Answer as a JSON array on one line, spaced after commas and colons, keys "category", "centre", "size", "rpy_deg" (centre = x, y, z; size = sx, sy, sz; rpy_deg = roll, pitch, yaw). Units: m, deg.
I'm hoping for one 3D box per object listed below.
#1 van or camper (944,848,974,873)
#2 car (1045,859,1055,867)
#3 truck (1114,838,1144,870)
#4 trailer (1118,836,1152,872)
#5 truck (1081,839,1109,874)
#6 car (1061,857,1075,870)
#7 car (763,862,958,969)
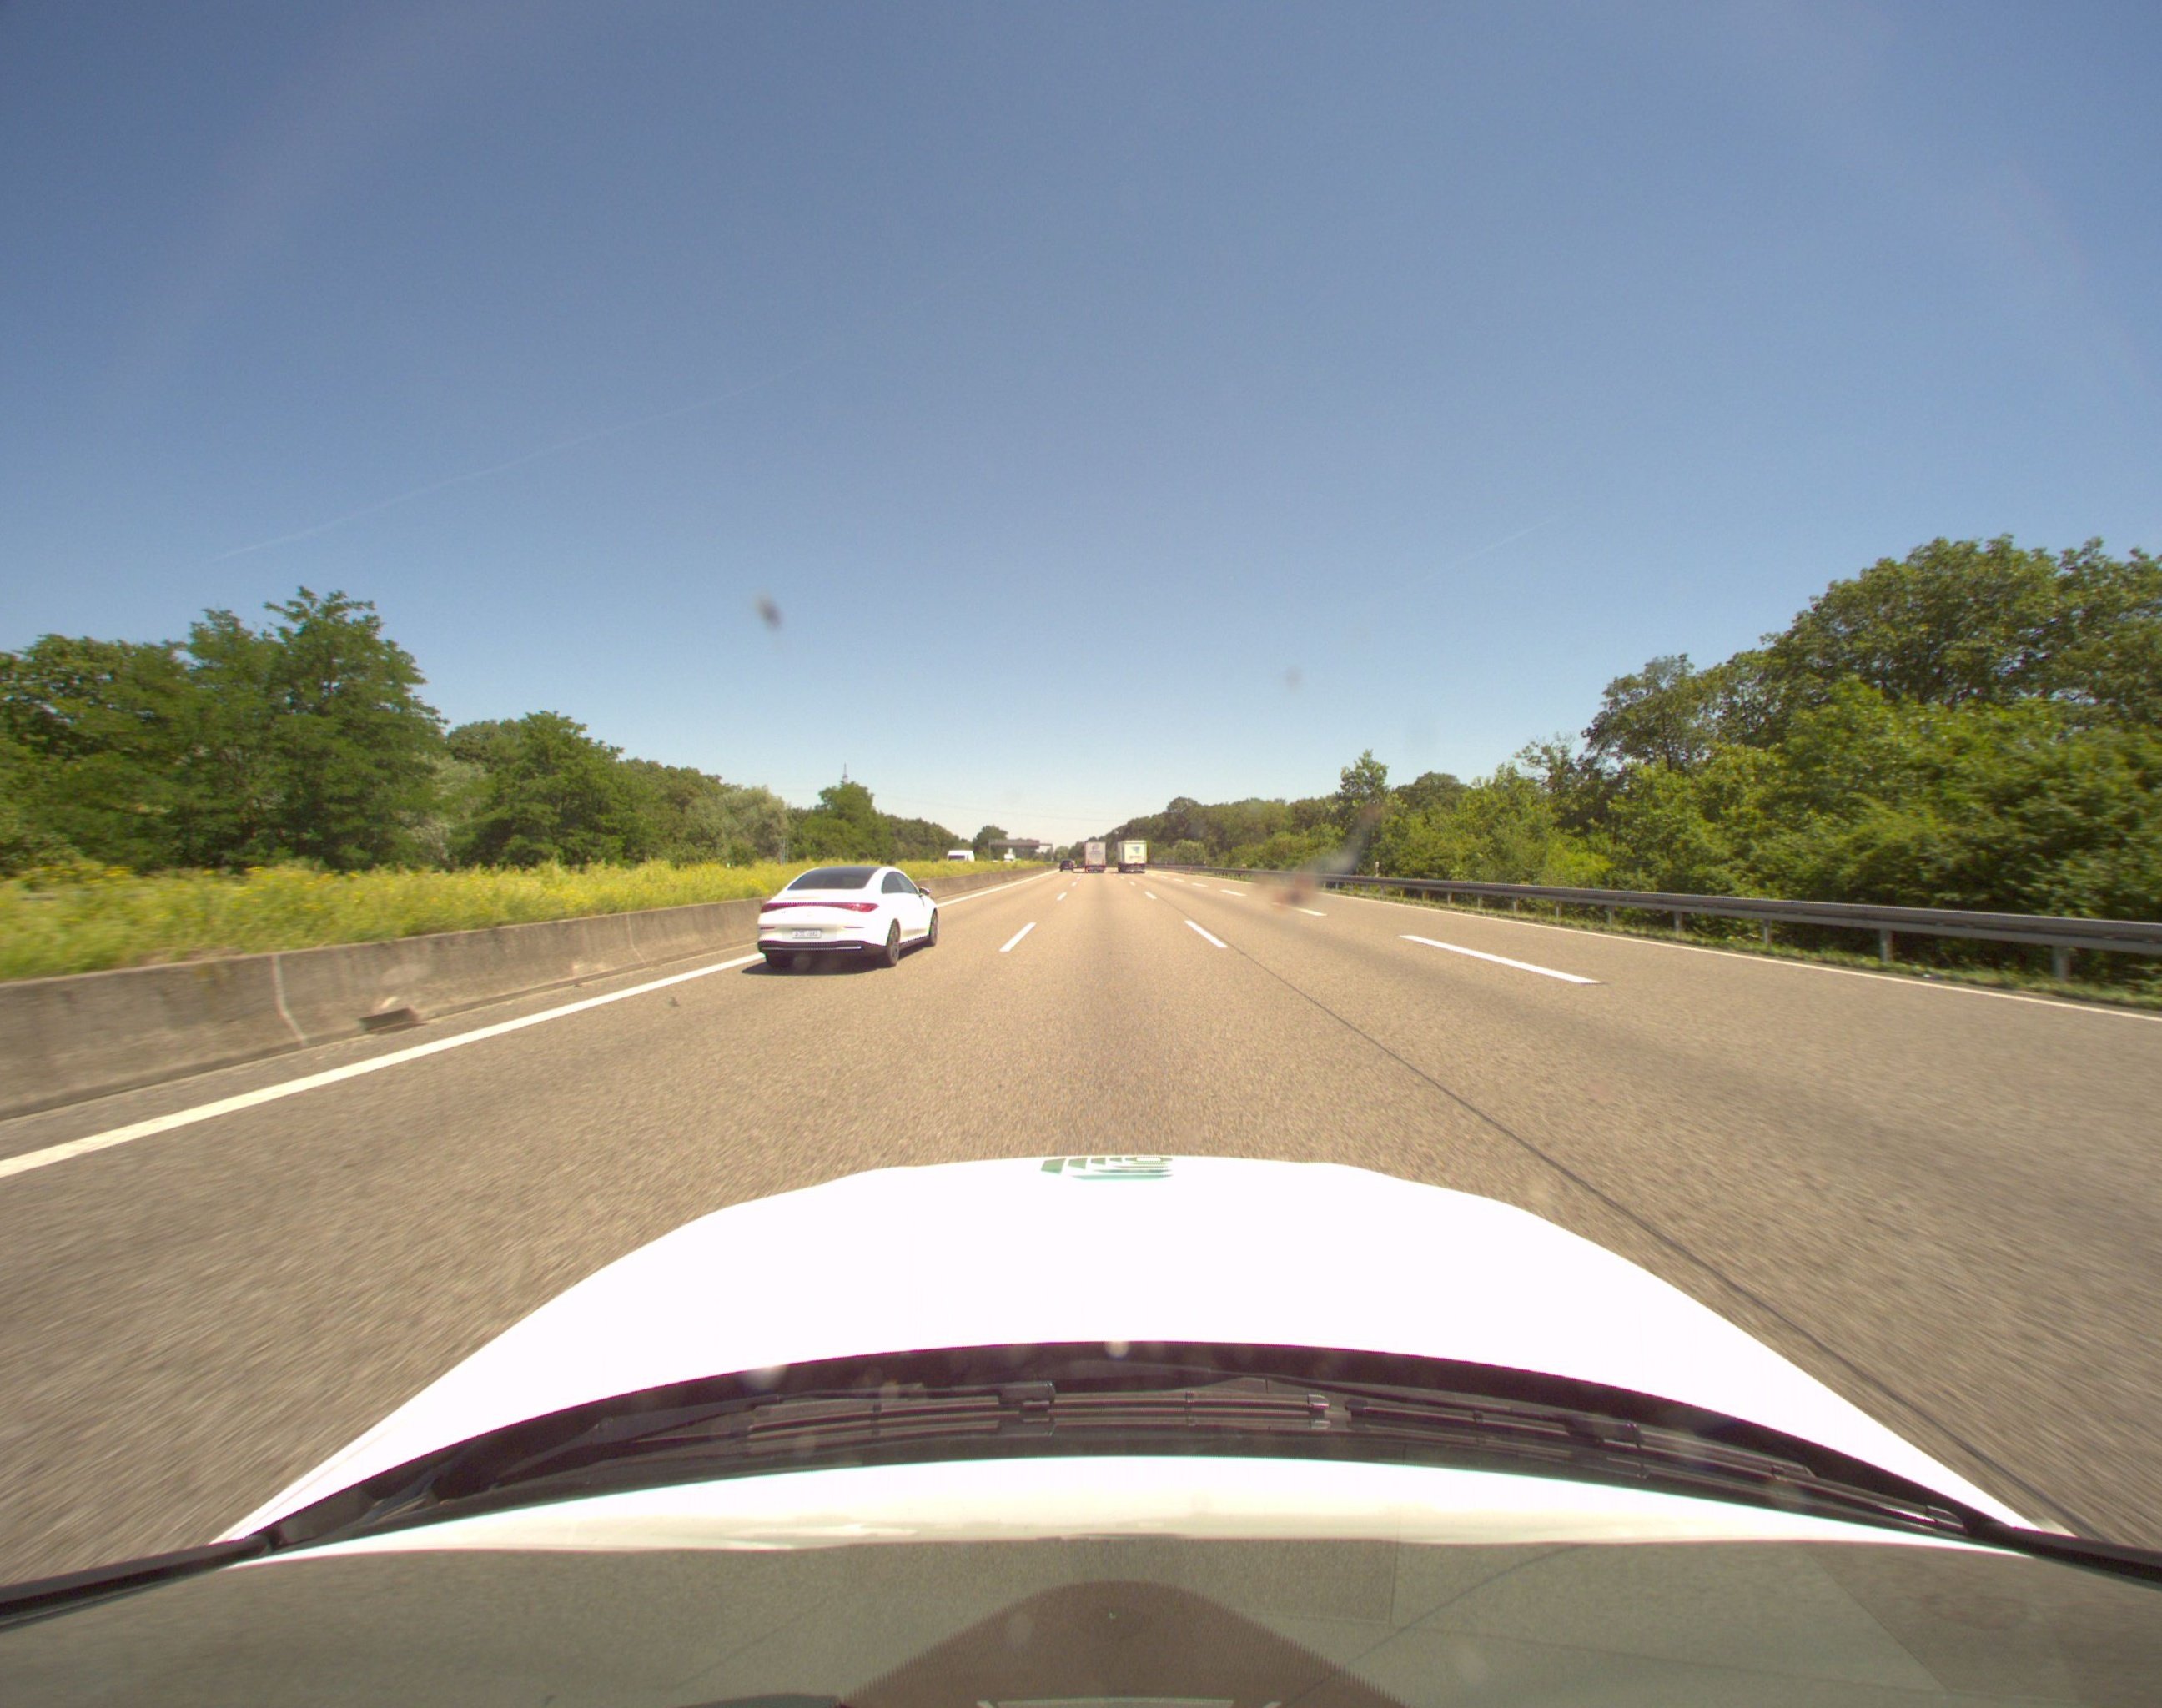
[{"category": "van or camper", "centre": [-11.997, 0.629, 80.509], "size": [2.245, 2.387, 6.753], "rpy_deg": [-1, 0, -2]}, {"category": "car", "centre": [-7.442, 2.154, 196.738], "size": [2.284, 2.014, 4.711], "rpy_deg": [0, -1, 1]}, {"category": "truck", "centre": [6.289, -0.091, 108.251], "size": [3.316, 4.053, 10.950], "rpy_deg": [0, 0, -1]}, {"category": "trailer", "centre": [6.459, -0.065, 98.801], "size": [3.358, 4.142, 9.085], "rpy_deg": [0, 0, -2]}, {"category": "truck", "centre": [1.718, 0.304, 103.152], "size": [3.220, 4.202, 8.462], "rpy_deg": [0, 0, -1]}, {"category": "car", "centre": [-1.966, 1.466, 121.581], "size": [1.989, 1.874, 3.996], "rpy_deg": [0, 0, -3]}, {"category": "car", "centre": [-3.474, 0.885, 13.940], "size": [1.760, 1.448, 5.110], "rpy_deg": [-1, 0, 2]}]
